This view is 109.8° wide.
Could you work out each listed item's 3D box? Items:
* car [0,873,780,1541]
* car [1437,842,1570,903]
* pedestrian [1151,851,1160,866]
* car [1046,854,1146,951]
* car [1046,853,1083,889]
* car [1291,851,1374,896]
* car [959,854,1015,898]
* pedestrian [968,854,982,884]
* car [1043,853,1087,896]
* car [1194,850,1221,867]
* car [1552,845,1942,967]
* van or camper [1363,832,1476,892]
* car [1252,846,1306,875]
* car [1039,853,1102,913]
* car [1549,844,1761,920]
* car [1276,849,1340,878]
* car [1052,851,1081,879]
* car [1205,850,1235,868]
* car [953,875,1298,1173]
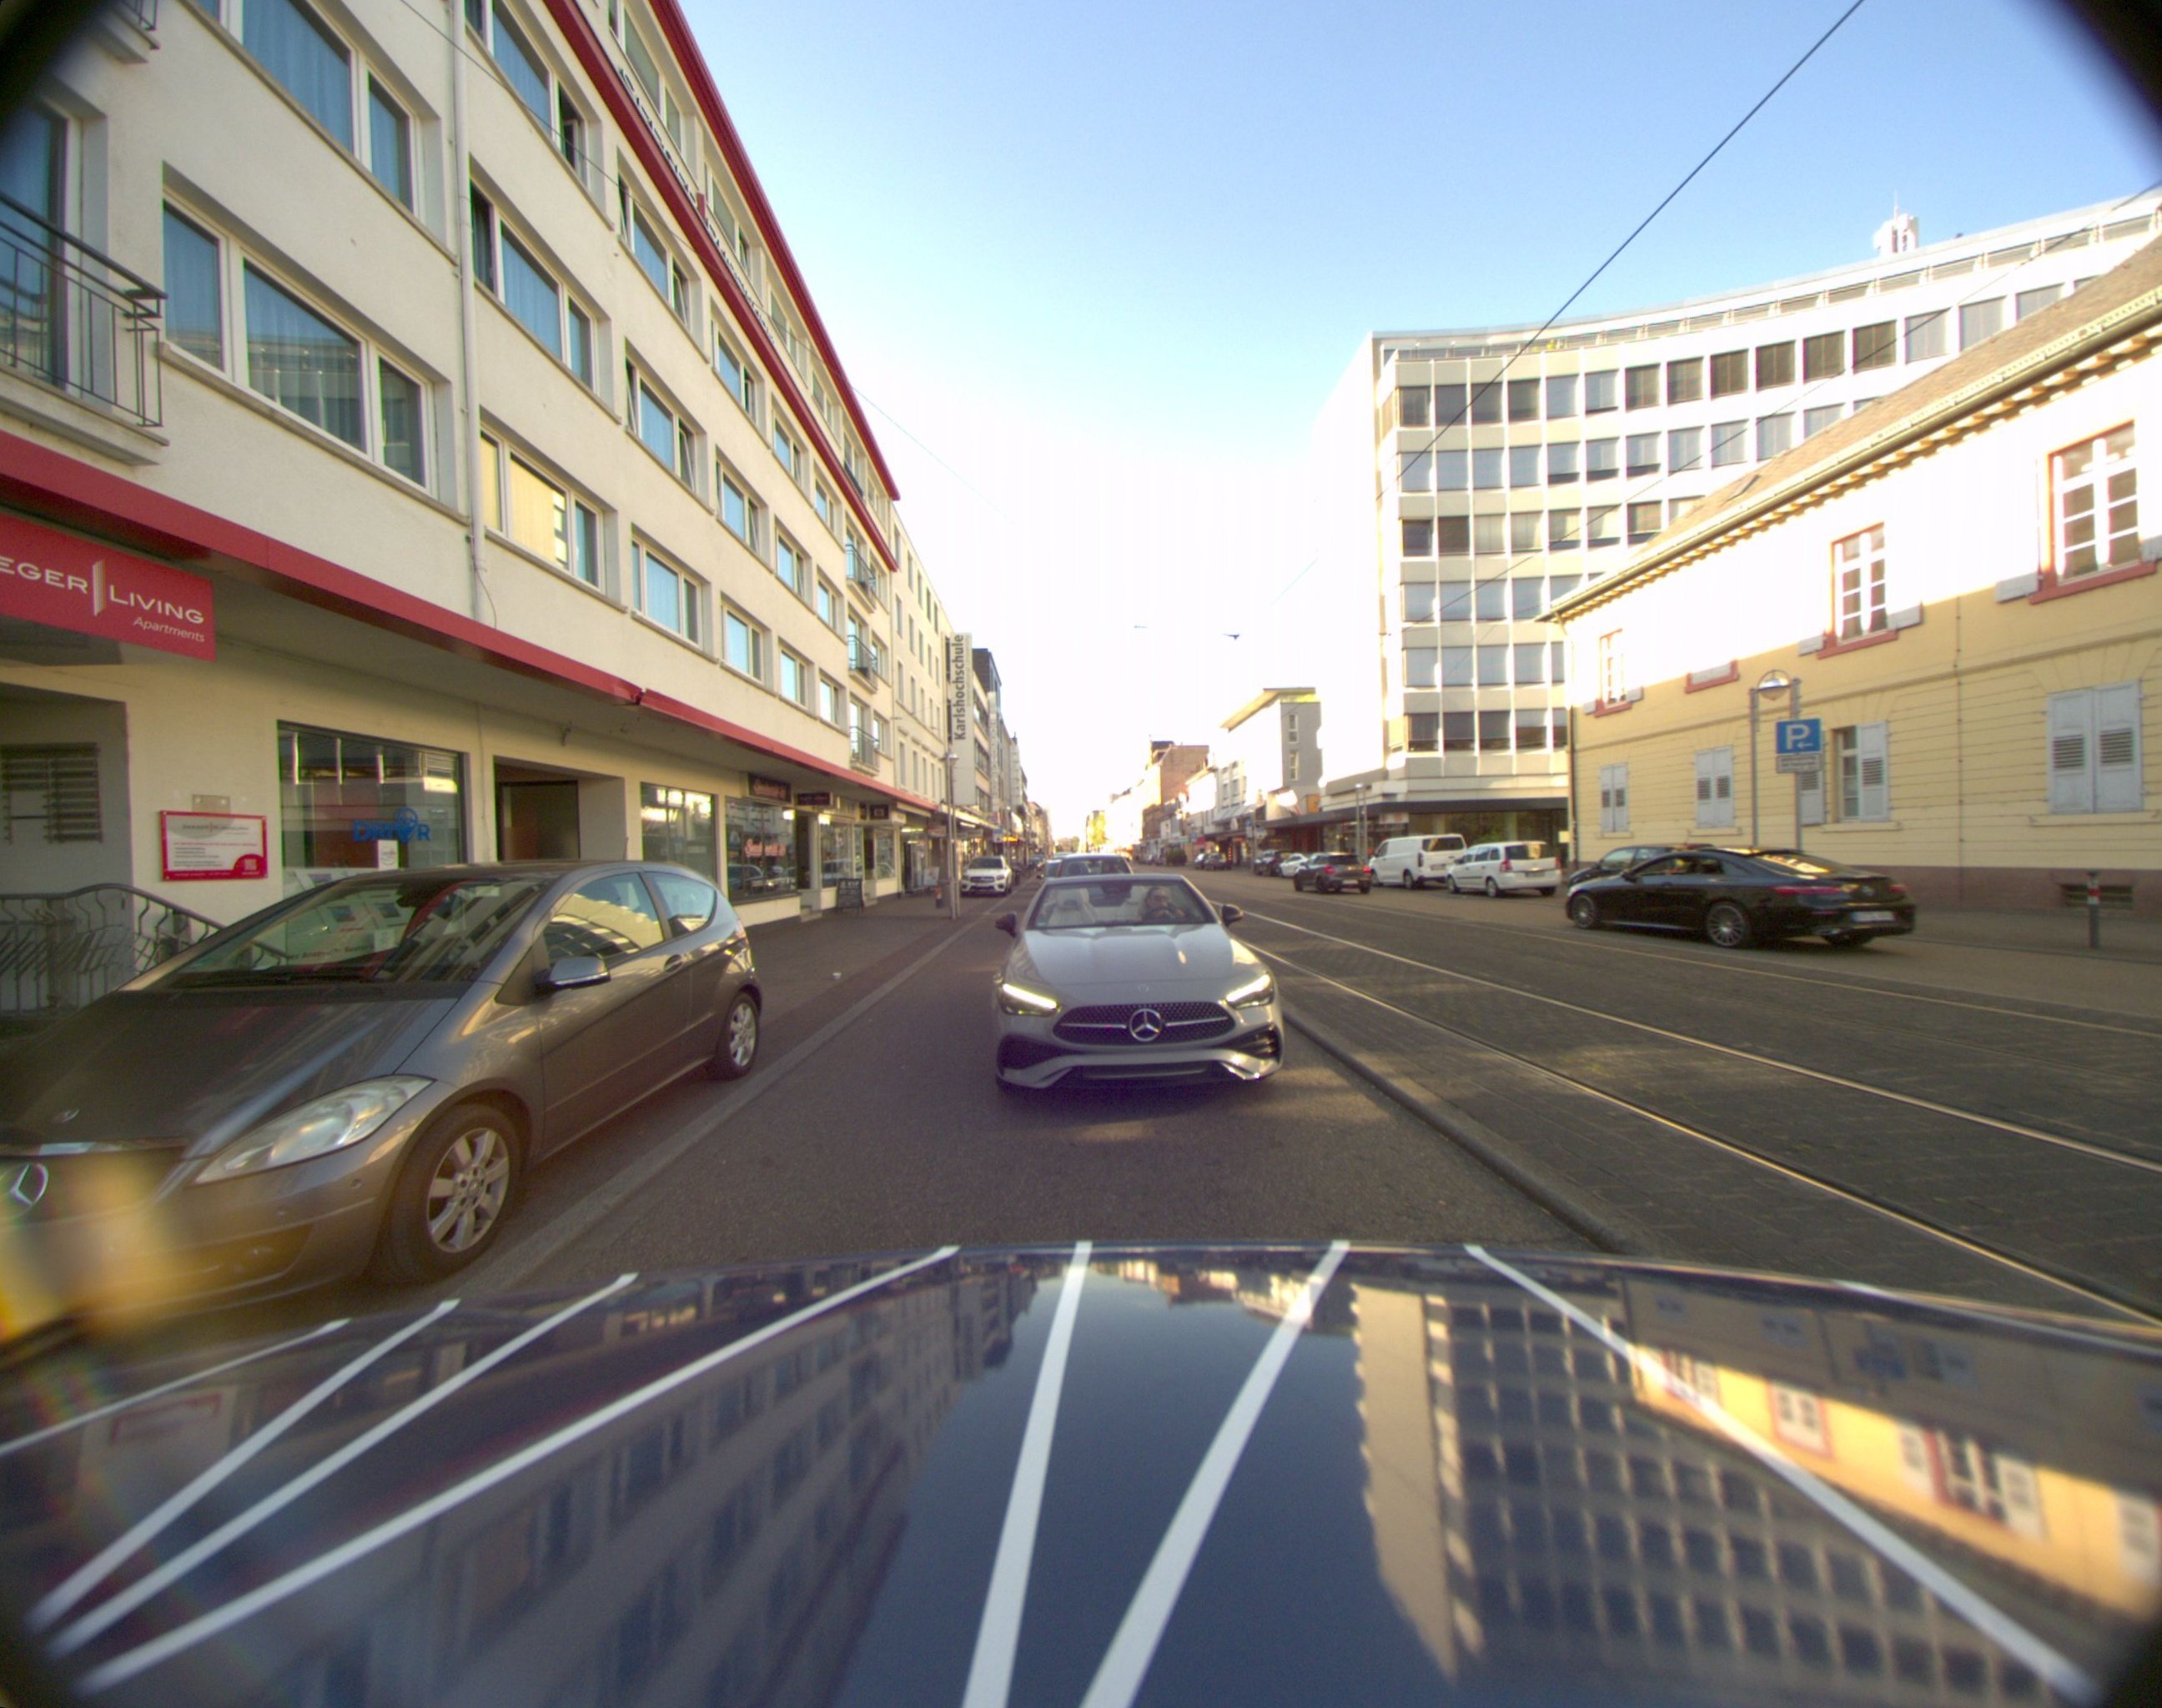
[{"bbox_3d":[-3.222,0.957,3.898,1.781,1.560,3.960,0,1,0],"label":"car"},{"bbox_3d":[12.725,0.482,23.230,1.781,1.611,4.175,-3,1,2],"label":"car"},{"bbox_3d":[9.469,0.542,96.089,1.009,1.811,1.033,-2,1,3],"label":"pedestrian"},{"bbox_3d":[0.254,0.850,15.372,1.737,1.654,3.960,0,1,0],"label":"car"},{"bbox_3d":[-0.789,0.804,37.439,1.737,1.654,3.781,0,1,0],"label":"car"},{"bbox_3d":[9.076,0.650,27.760,1.781,1.500,3.860,-1,0,1],"label":"car"},{"bbox_3d":[-3.806,0.840,31.332,1.783,1.654,4.162,0,1,0],"label":"car"},{"bbox_3d":[-6.659,0.937,47.722,0.706,1.807,0.807,-2,1,-3],"label":"pedestrian"},{"bbox_3d":[-0.639,0.808,32.027,1.737,1.654,3.960,0,1,0],"label":"car"},{"bbox_3d":[11.822,0.394,71.019,1.786,1.511,3.832,-2,1,-1],"label":"car"},{"bbox_3d":[9.775,0.640,11.812,1.782,1.500,4.668,-1,0,-4],"label":"car"},{"bbox_3d":[12.717,0.253,28.908,1.960,1.962,4.796,-3,1,-2],"label":"van or camper"},{"bbox_3d":[12.348,0.385,47.669,1.931,1.632,4.280,-4,1,-3],"label":"car"},{"bbox_3d":[-0.321,0.829,23.683,1.783,1.654,3.960,0,1,0],"label":"car"},{"bbox_3d":[12.850,0.536,17.356,1.781,1.431,3.960,-3,1,0],"label":"car"},{"bbox_3d":[12.528,0.497,42.265,1.931,1.444,4.291,-4,1,-5],"label":"car"},{"bbox_3d":[-0.860,0.636,46.532,1.737,1.654,3.960,0,1,0],"label":"car"},{"bbox_3d":[11.947,0.385,65.480,1.786,1.408,3.596,-2,1,-2],"label":"car"},{"bbox_3d":[0.235,0.992,6.529,1.869,1.431,4.773,0,1,0],"label":"car"}]
